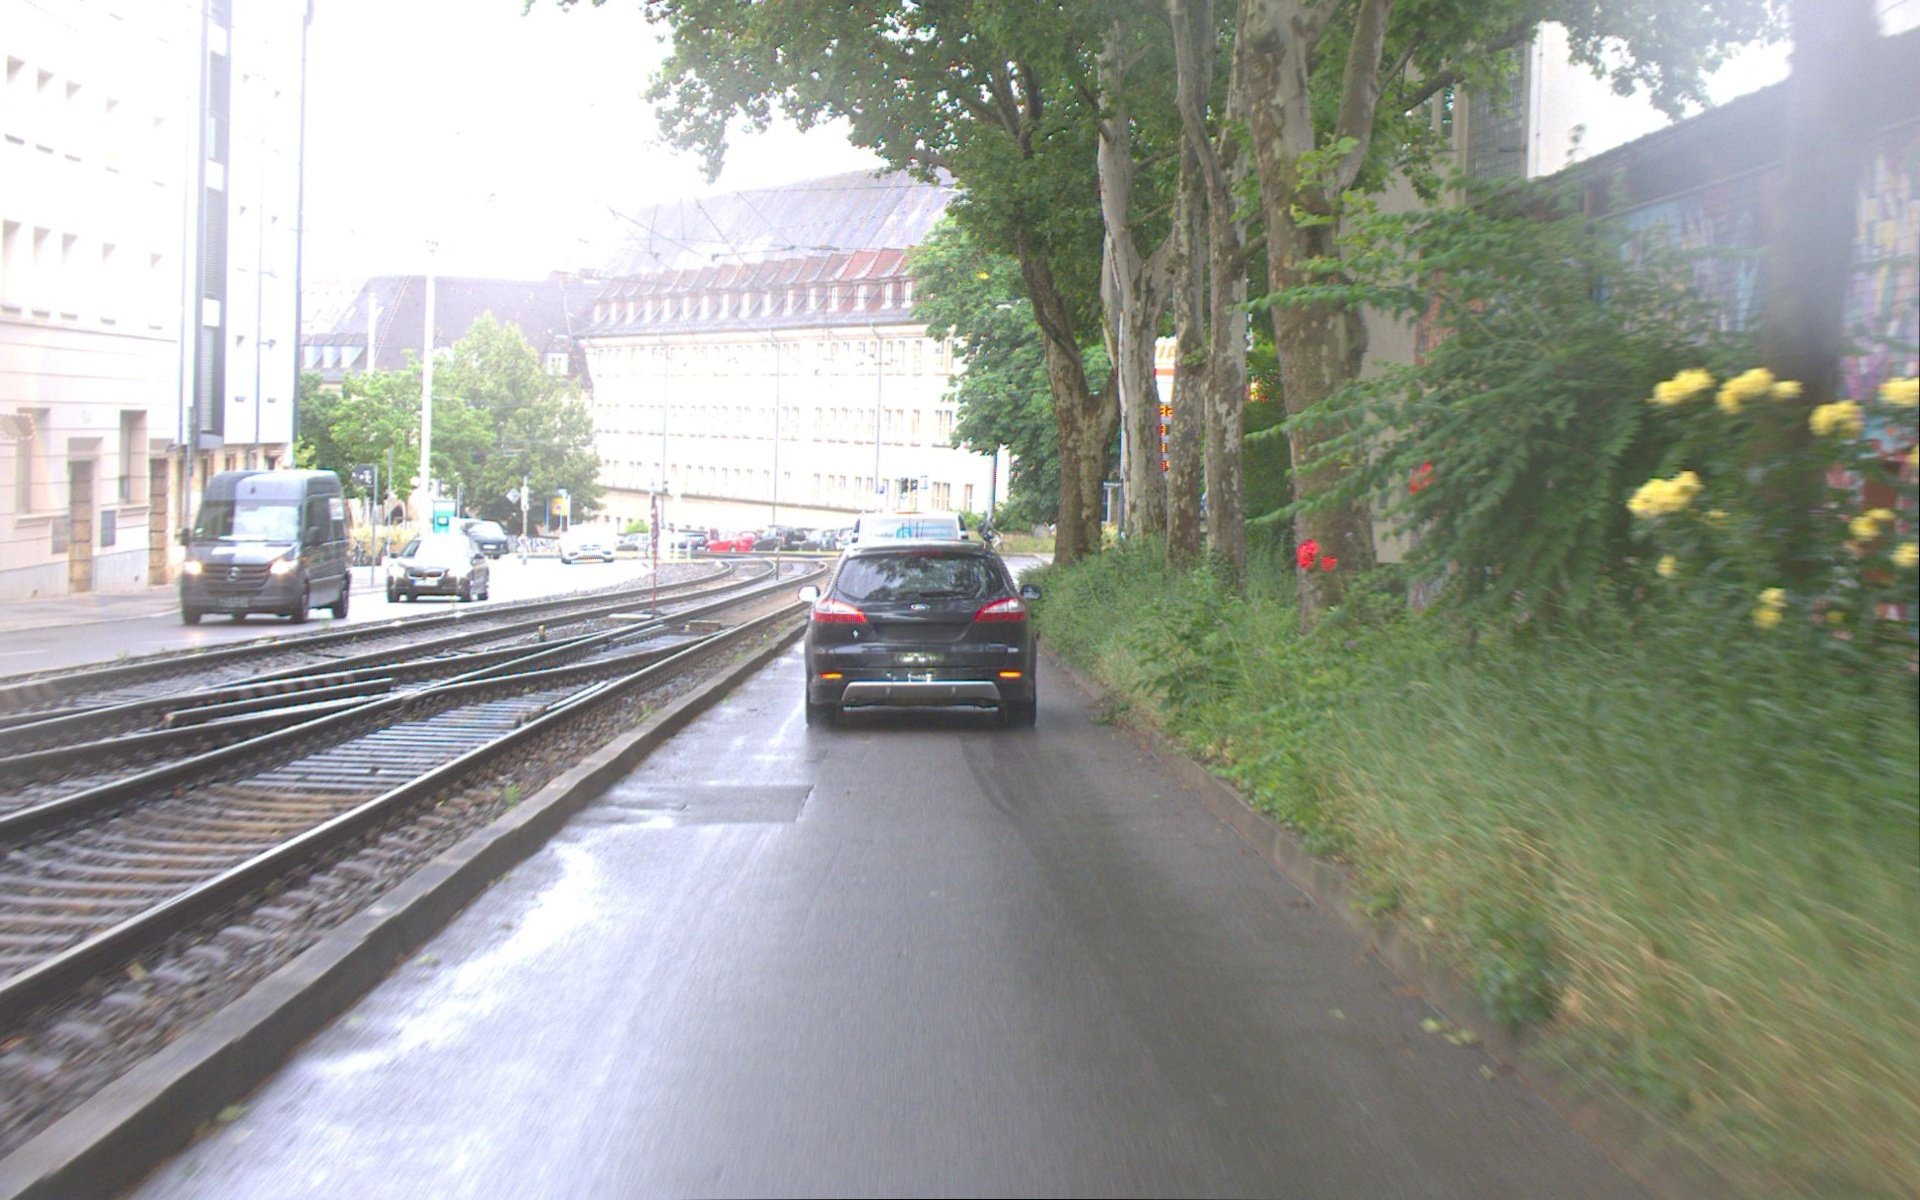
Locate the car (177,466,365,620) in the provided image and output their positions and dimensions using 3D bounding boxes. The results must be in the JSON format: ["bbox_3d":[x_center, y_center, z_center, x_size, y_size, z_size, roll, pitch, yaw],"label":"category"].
[{"bbox_3d":[-11.596,-0.906,58.286,1.993,2.443,5.998,1,0,0],"label":"car"}]

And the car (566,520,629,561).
[{"bbox_3d":[-13.689,-2.245,130.008,1.799,1.477,4.840,1,0,1],"label":"car"}]

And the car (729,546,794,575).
[{"bbox_3d":[-10.481,-2.082,181.399,1.581,1.537,4.000,0,0,-35],"label":"car"}]

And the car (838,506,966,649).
[{"bbox_3d":[-0.891,-0.334,50.643,1.740,2.007,3.904,1,0,-3],"label":"car"}]

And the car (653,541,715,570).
[{"bbox_3d":[-15.320,-2.467,190.642,1.993,1.537,4.001,-1,1,-27],"label":"car"}]

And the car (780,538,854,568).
[{"bbox_3d":[-7.365,-2.419,176.651,1.994,1.537,4.000,0,0,-35],"label":"car"}]

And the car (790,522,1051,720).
[{"bbox_3d":[-0.392,0.146,28.064,1.933,1.448,4.318,2,0,-2],"label":"car"}]

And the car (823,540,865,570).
[{"bbox_3d":[-5.862,-2.262,172.961,1.657,1.471,3.645,1,0,-9],"label":"car"}]

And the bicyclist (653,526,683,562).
[{"bbox_3d":[-10.802,-2.065,127.092,0.772,1.309,0.791,-1,1,-37],"label":"bicyclist"}]

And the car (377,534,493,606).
[{"bbox_3d":[-11.644,-0.691,76.538,1.880,1.481,4.854,0,2,0],"label":"car"}]

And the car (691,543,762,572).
[{"bbox_3d":[-12.620,-2.285,185.560,1.994,1.537,3.999,0,0,-36],"label":"car"}]

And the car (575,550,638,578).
[{"bbox_3d":[-20.408,-2.085,198.200,1.993,1.537,4.000,0,0,-33],"label":"car"}]

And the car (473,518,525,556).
[{"bbox_3d":[-19.374,-2.625,144.366,1.993,1.537,4.001,1,0,-10],"label":"car"}]
